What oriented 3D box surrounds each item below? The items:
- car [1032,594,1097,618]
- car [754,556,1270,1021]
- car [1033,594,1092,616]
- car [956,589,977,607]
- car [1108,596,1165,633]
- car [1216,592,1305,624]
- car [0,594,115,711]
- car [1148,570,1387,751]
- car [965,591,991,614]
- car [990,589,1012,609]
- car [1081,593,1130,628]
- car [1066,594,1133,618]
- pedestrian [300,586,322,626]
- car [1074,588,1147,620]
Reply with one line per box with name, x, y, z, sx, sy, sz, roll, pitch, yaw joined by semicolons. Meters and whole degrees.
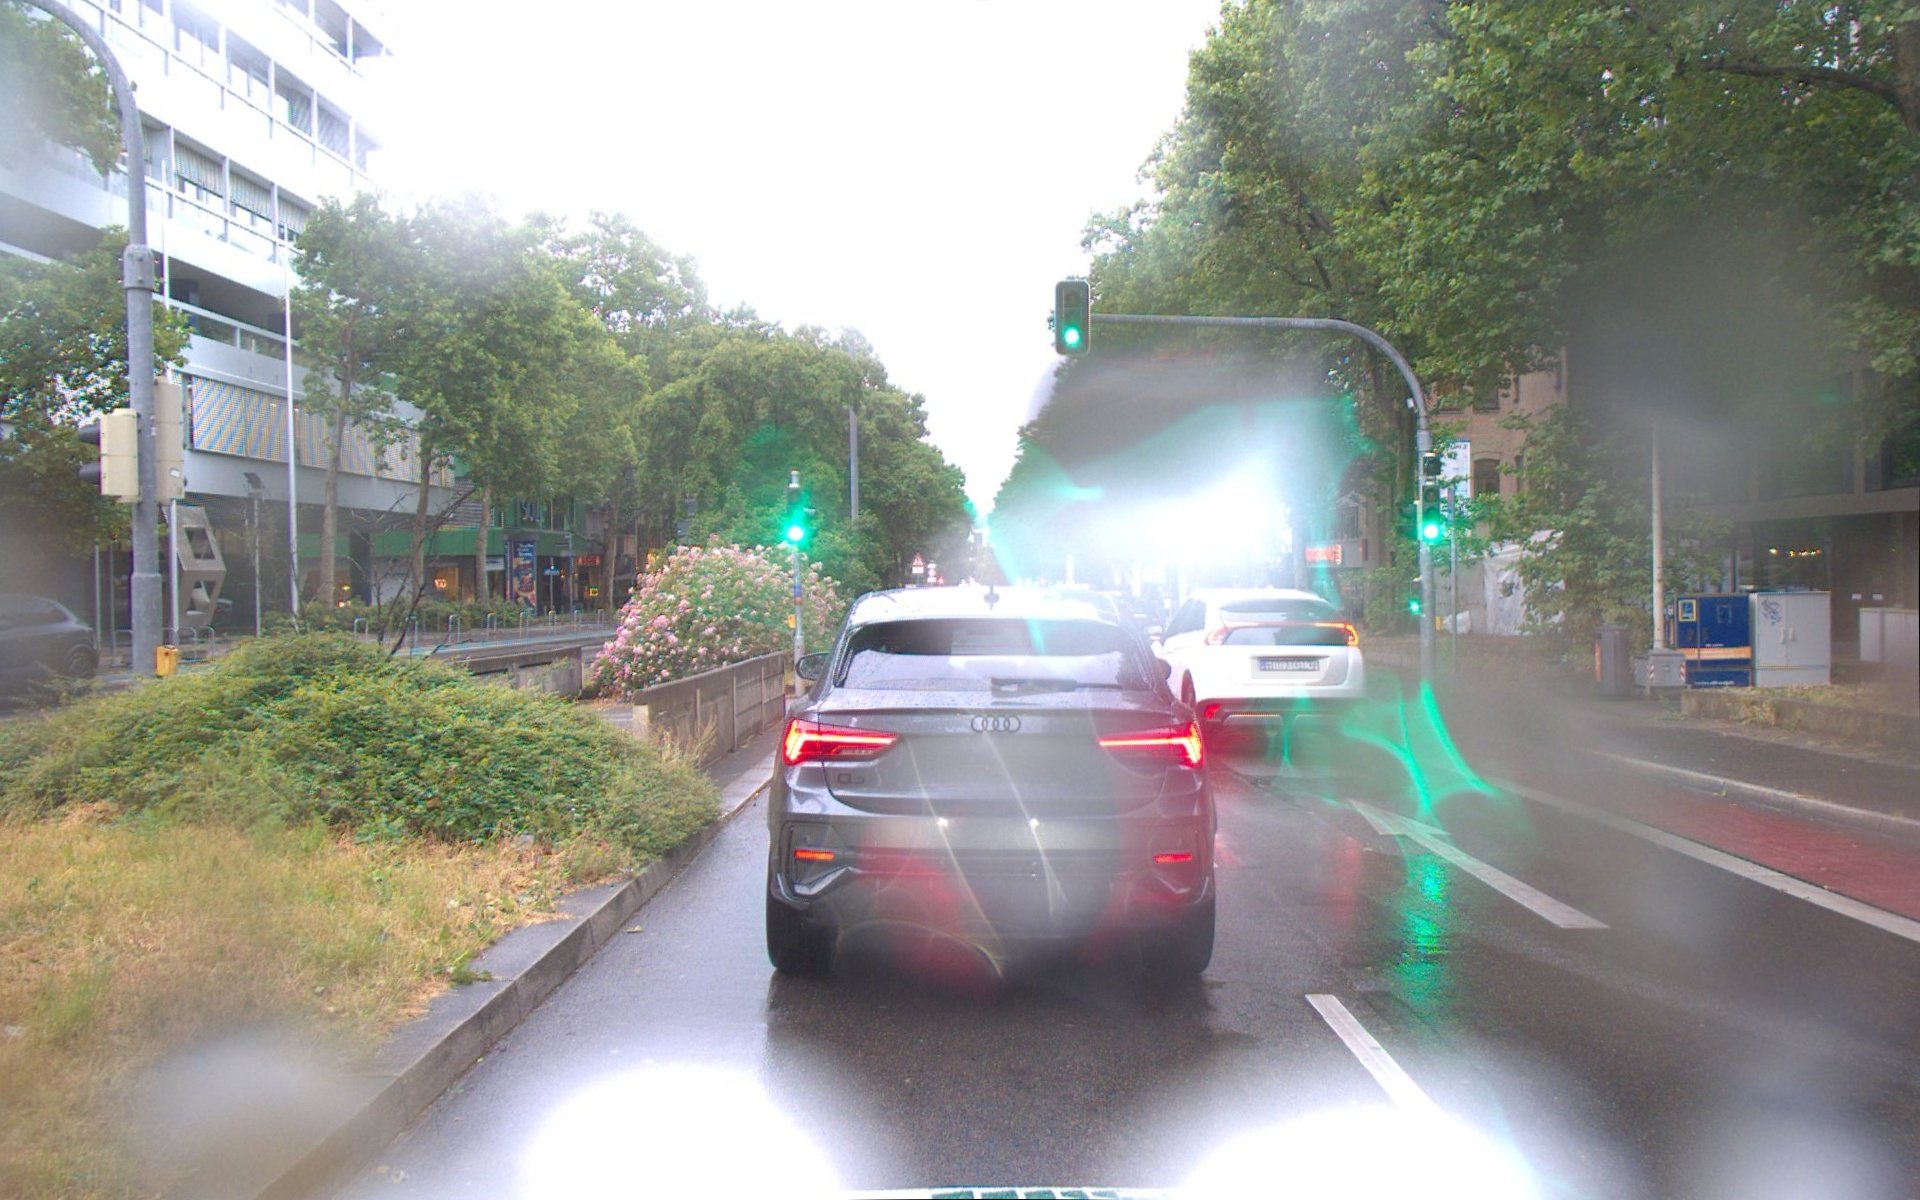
car;8.055;0.459;127.429;4.549;1.736;1.997;1;-1;28
car;0.156;0.662;7.816;1.812;1.630;3.999;0;0;-1
car;8.696;0.418;140.675;4.549;1.736;1.997;1;-1;28
car;0.559;-0.171;148.918;1.857;1.627;3.938;1;-1;-1
car;7.239;0.592;68.286;1.835;1.446;4.611;1;0;0
car;10.757;0.294;59.197;2.831;1.093;1.452;1;-1;31
car;-14.070;0.706;23.068;1.869;1.612;4.748;1;-1;4
car;3.211;0.601;18.020;1.839;1.727;4.000;1;-1;0
car;1.380;0.209;127.878;1.953;1.757;3.999;1;-1;-1
car;3.723;-0.079;151.012;1.952;1.680;4.000;1;-1;0
car;6.946;0.483;79.141;1.693;1.599;4.070;1;-1;-4
car;10.383;0.453;123.114;4.549;1.736;1.997;1;-1;28
pedestrian;-24.770;0.213;63.133;0.597;1.508;0.574;1;-1;-3
car;9.916;0.254;109.070;4.519;2.049;1.959;1;-1;39
